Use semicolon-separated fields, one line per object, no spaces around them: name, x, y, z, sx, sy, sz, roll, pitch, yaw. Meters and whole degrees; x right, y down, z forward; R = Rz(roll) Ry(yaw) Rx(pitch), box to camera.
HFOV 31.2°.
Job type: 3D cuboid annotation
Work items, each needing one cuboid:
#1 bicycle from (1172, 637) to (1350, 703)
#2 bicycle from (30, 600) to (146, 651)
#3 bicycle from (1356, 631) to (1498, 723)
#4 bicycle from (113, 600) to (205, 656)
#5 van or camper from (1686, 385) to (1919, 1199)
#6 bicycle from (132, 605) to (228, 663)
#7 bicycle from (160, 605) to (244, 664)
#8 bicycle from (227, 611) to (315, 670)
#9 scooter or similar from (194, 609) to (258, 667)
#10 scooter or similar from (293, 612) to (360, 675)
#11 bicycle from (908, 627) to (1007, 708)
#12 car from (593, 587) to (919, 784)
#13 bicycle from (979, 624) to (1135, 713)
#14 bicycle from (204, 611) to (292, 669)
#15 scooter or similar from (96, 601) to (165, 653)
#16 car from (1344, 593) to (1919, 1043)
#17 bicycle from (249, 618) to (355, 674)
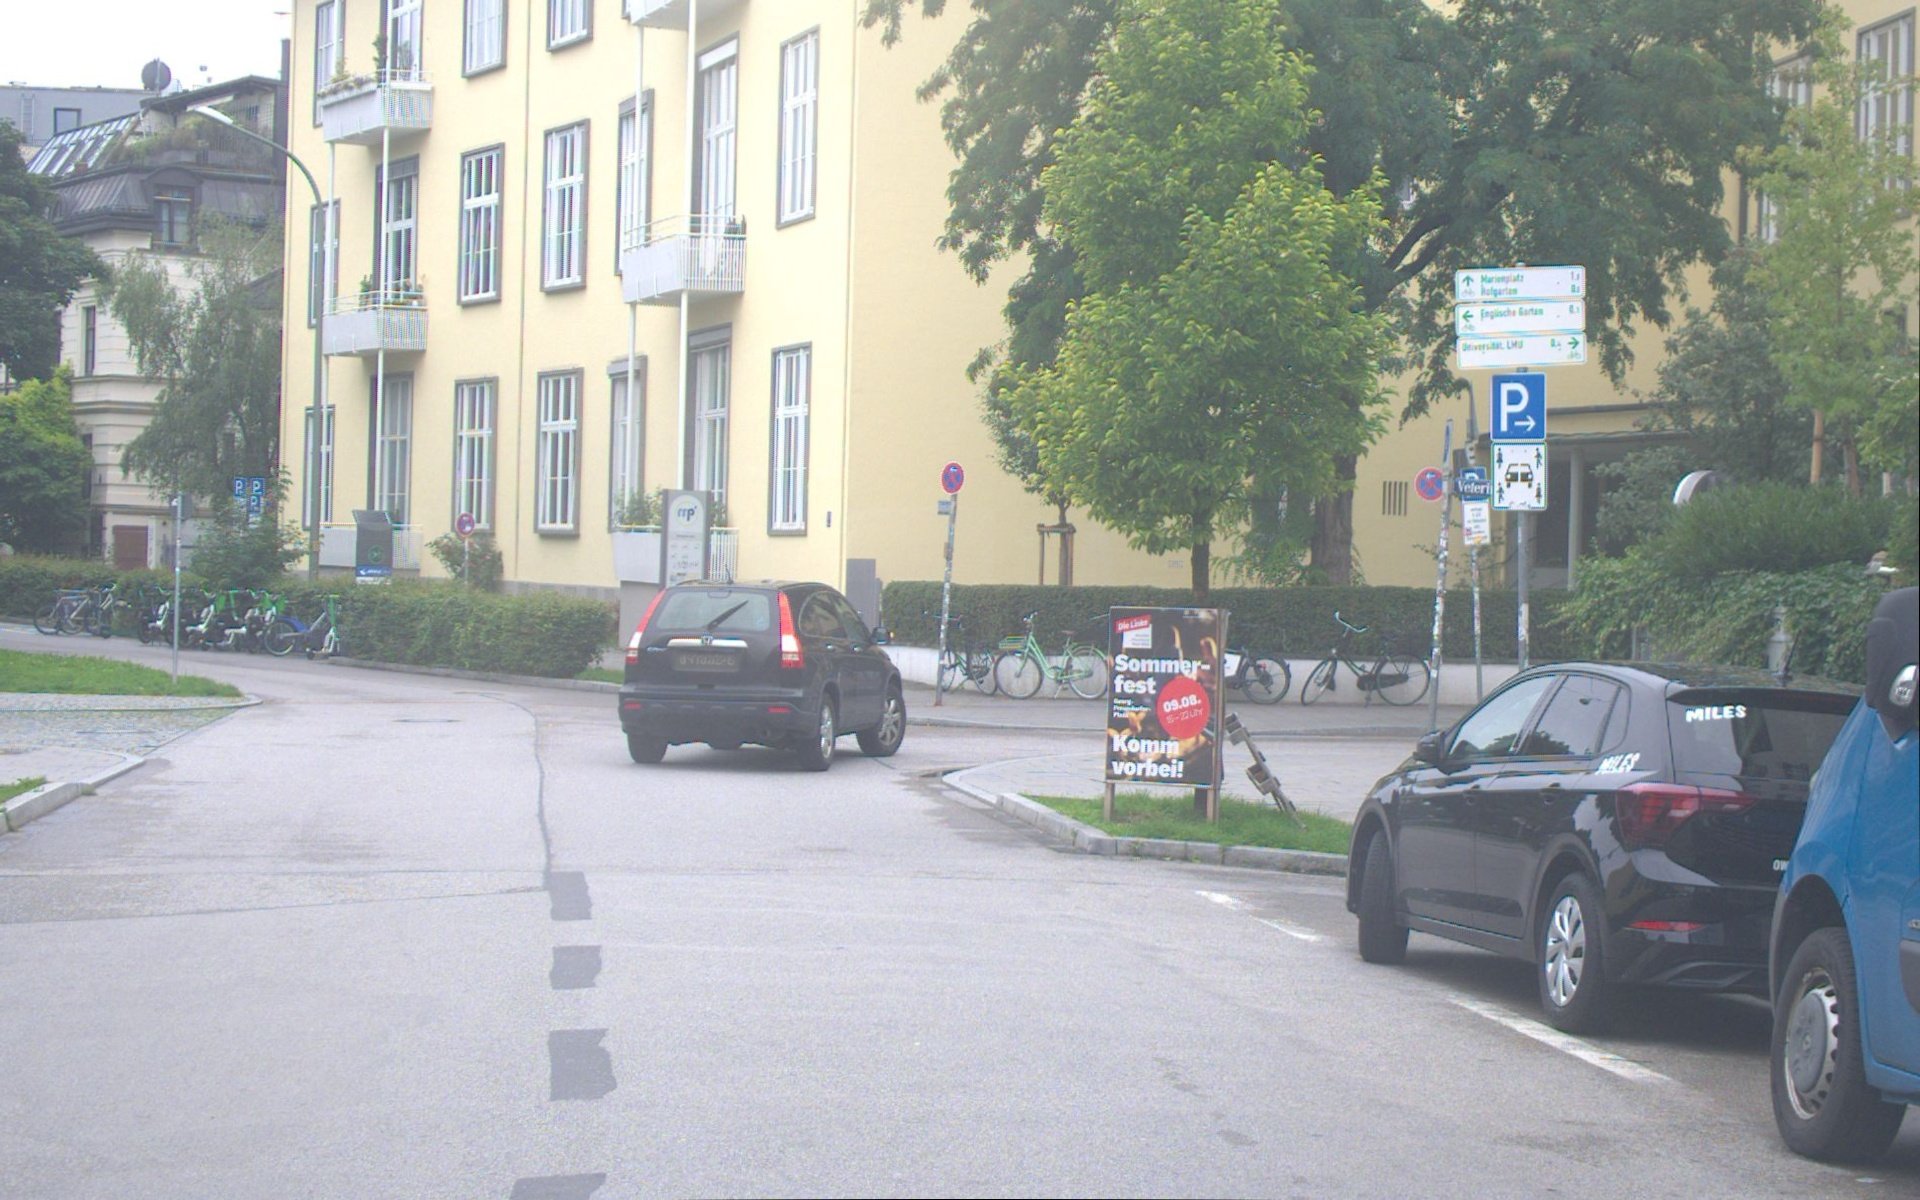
bicycle;3.907;0.902;44.654;2.211;0.776;0.610;1;0;15
bicycle;-18.885;0.552;74.465;2.331;1.082;0.692;0;1;-35
bicycle;6.067;0.996;44.687;1.734;1.146;0.610;1;0;-1
bicycle;-16.048;0.545;68.904;0.763;1.082;2.139;1;1;19
van or camper;3.612;0.623;8.244;2.060;2.223;5.439;5;0;-4
bicycle;-15.222;0.648;67.184;0.696;1.082;2.336;1;1;19
bicycle;-14.653;0.658;66.491;0.638;1.082;1.984;1;1;19
bicycle;-13.089;0.753;65.328;0.576;1.082;1.930;1;1;27
scooter or similar;-14.122;0.722;66.182;0.496;1.084;1.408;1;1;23
scooter or similar;-11.410;0.776;61.941;0.496;1.105;1.408;1;1;23
bicycle;-0.044;0.927;48.130;0.608;1.069;2.218;0;0;-22
car;-1.796;0.734;31.833;1.996;1.688;4.378;0;0;11
bicycle;1.284;0.910;45.975;2.216;1.113;0.608;1;0;43
bicycle;-13.627;0.758;65.856;0.576;1.082;1.930;1;1;27
scooter or similar;-17.568;0.576;72.871;1.404;1.084;0.597;0;0;-12
car;2.894;0.806;14.477;1.703;1.513;3.959;5;0;-4
bicycle;-12.093;0.844;63.190;1.823;1.002;0.577;0;1;-32
